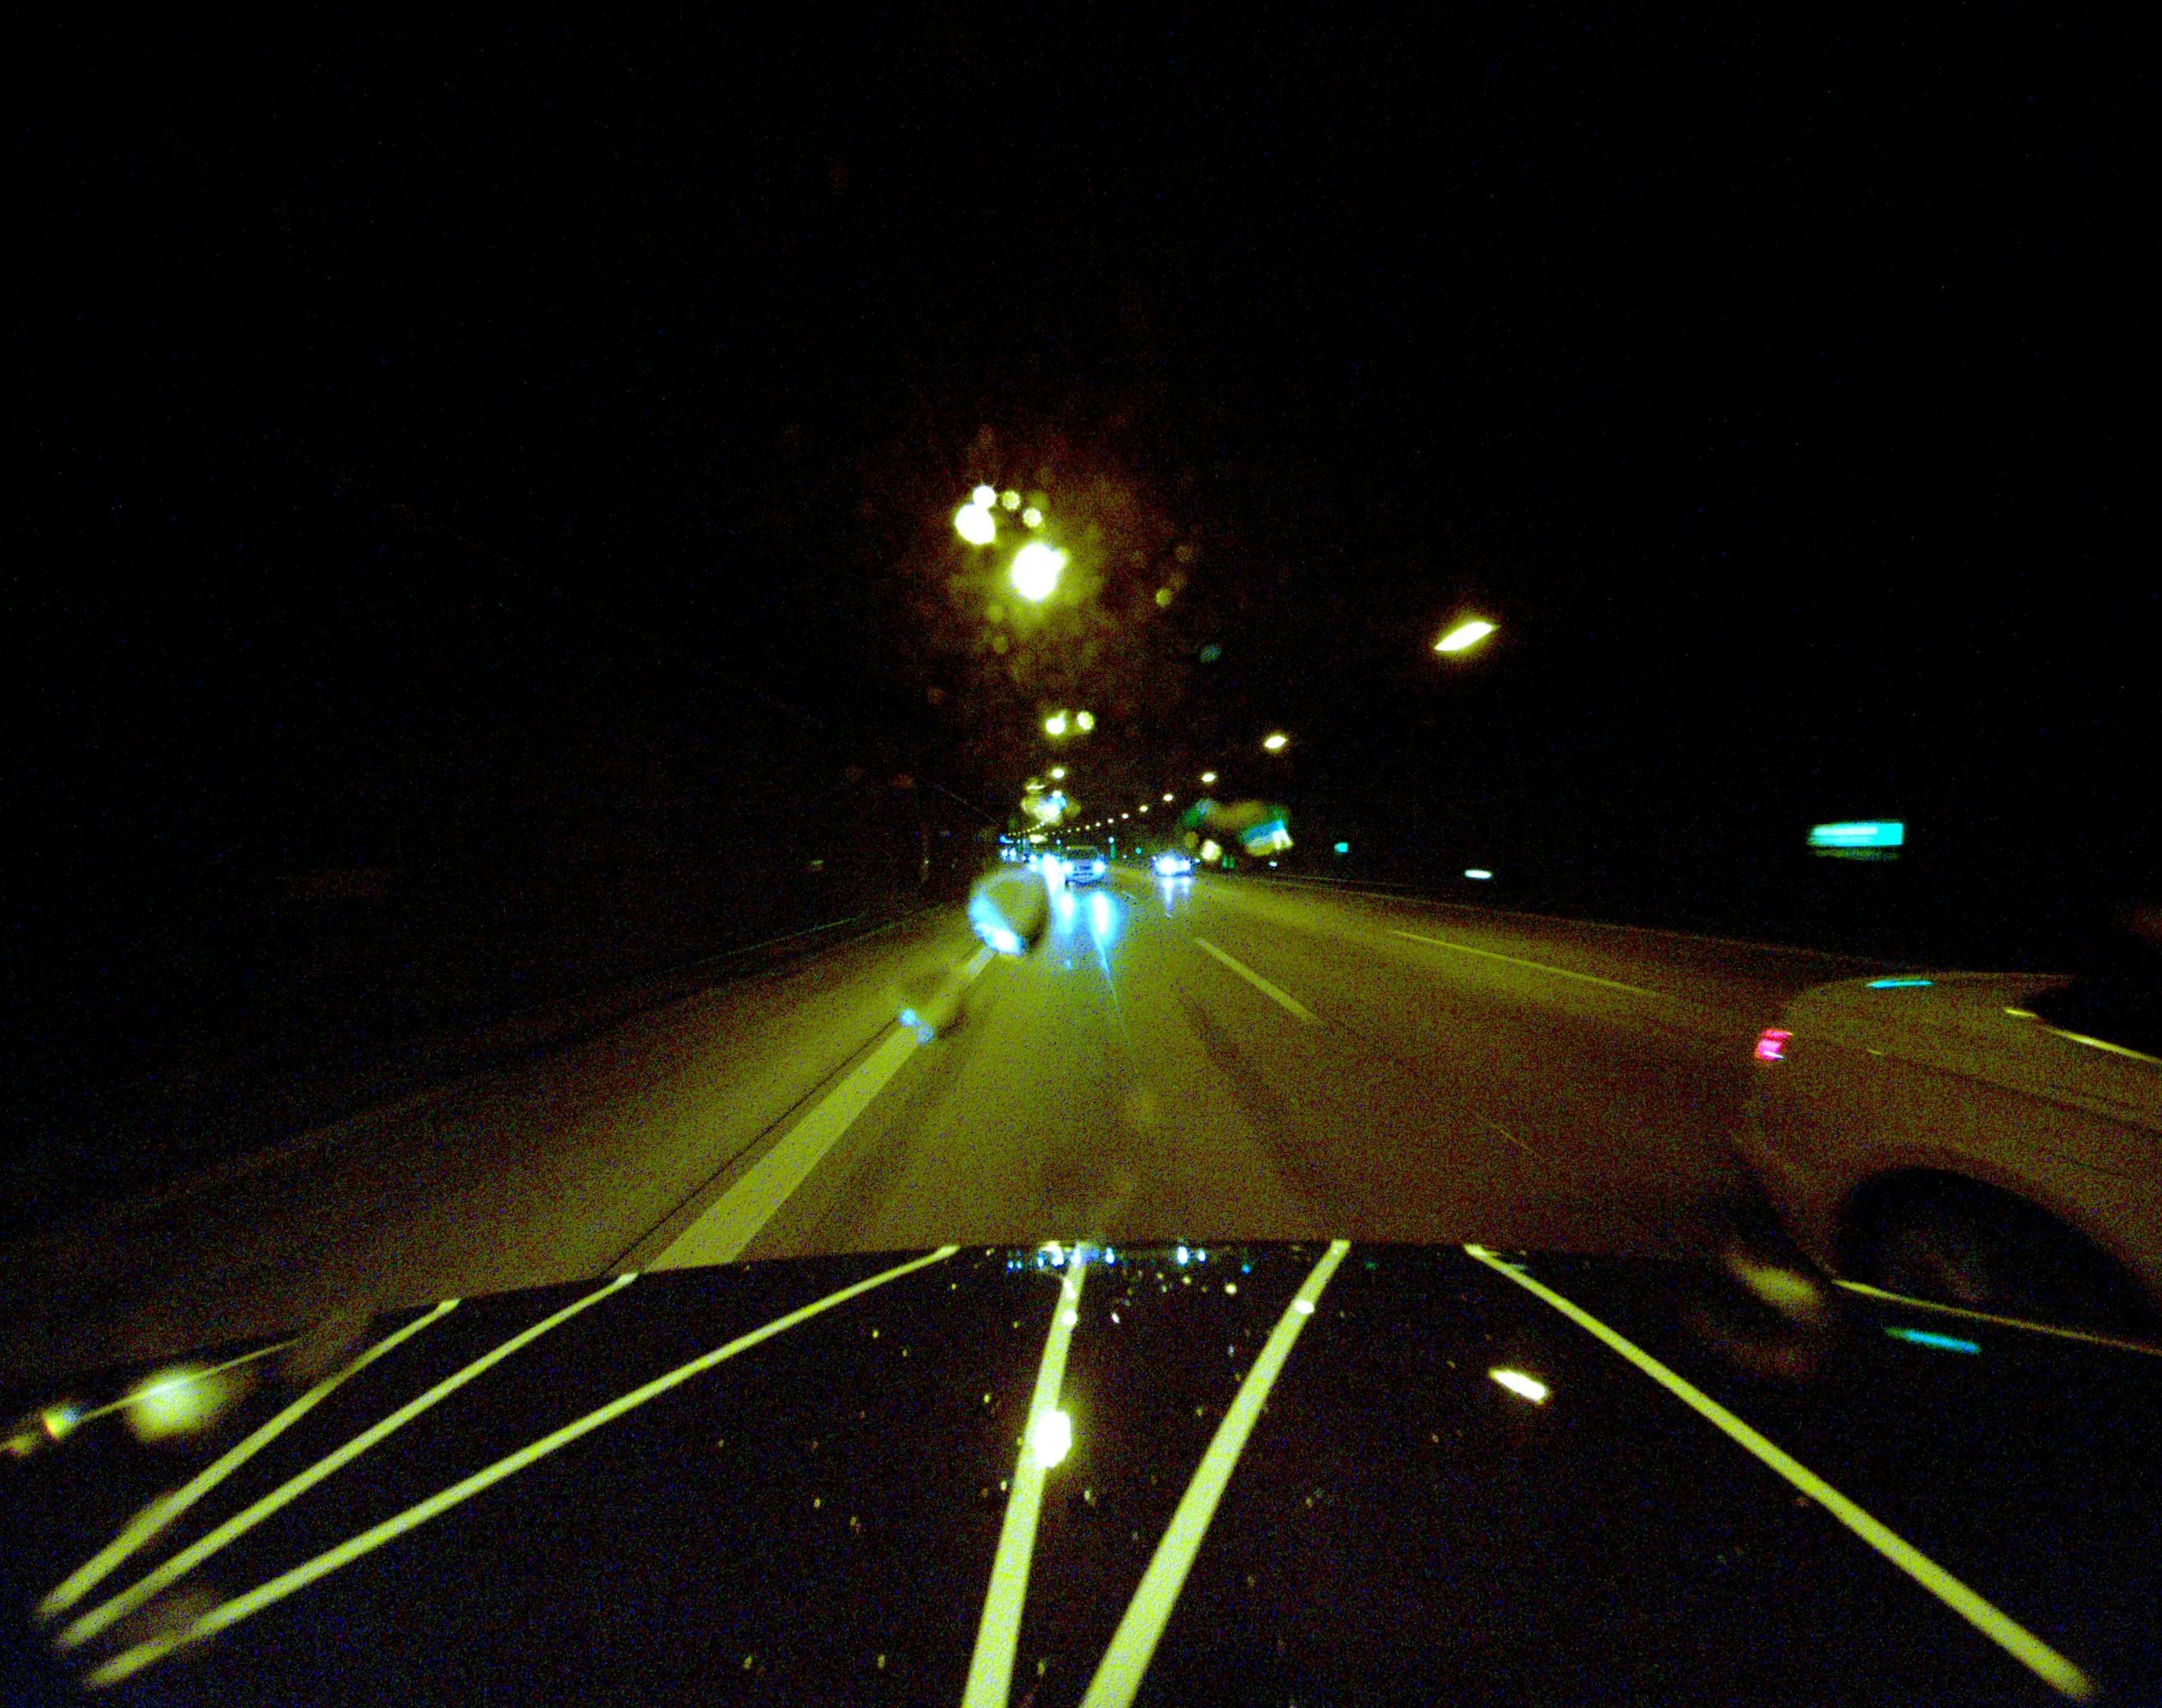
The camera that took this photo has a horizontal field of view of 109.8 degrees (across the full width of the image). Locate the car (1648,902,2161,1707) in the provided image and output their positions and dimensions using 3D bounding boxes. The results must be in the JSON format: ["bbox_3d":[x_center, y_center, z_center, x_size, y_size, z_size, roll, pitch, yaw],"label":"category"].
[{"bbox_3d":[2.888,0.936,0.207,1.706,1.411,5.059,-1,1,0],"label":"car"}]

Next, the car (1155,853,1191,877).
[{"bbox_3d":[5.765,0.656,48.140,1.739,1.447,3.999,-1,0,-1],"label":"car"}]

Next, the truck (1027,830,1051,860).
[{"bbox_3d":[-6.269,-1.343,112.599,3.144,4.137,7.380,-1,3,-7],"label":"truck"}]

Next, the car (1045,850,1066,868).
[{"bbox_3d":[-2.337,0.469,69.482,1.759,1.567,3.998,-1,0,-3],"label":"car"}]

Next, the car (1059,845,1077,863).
[{"bbox_3d":[-1.691,-0.030,96.953,1.999,2.003,3.995,-1,4,-5],"label":"car"}]

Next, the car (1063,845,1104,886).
[{"bbox_3d":[0.063,0.575,40.686,1.999,2.002,4.359,-1,0,-2],"label":"car"}]
